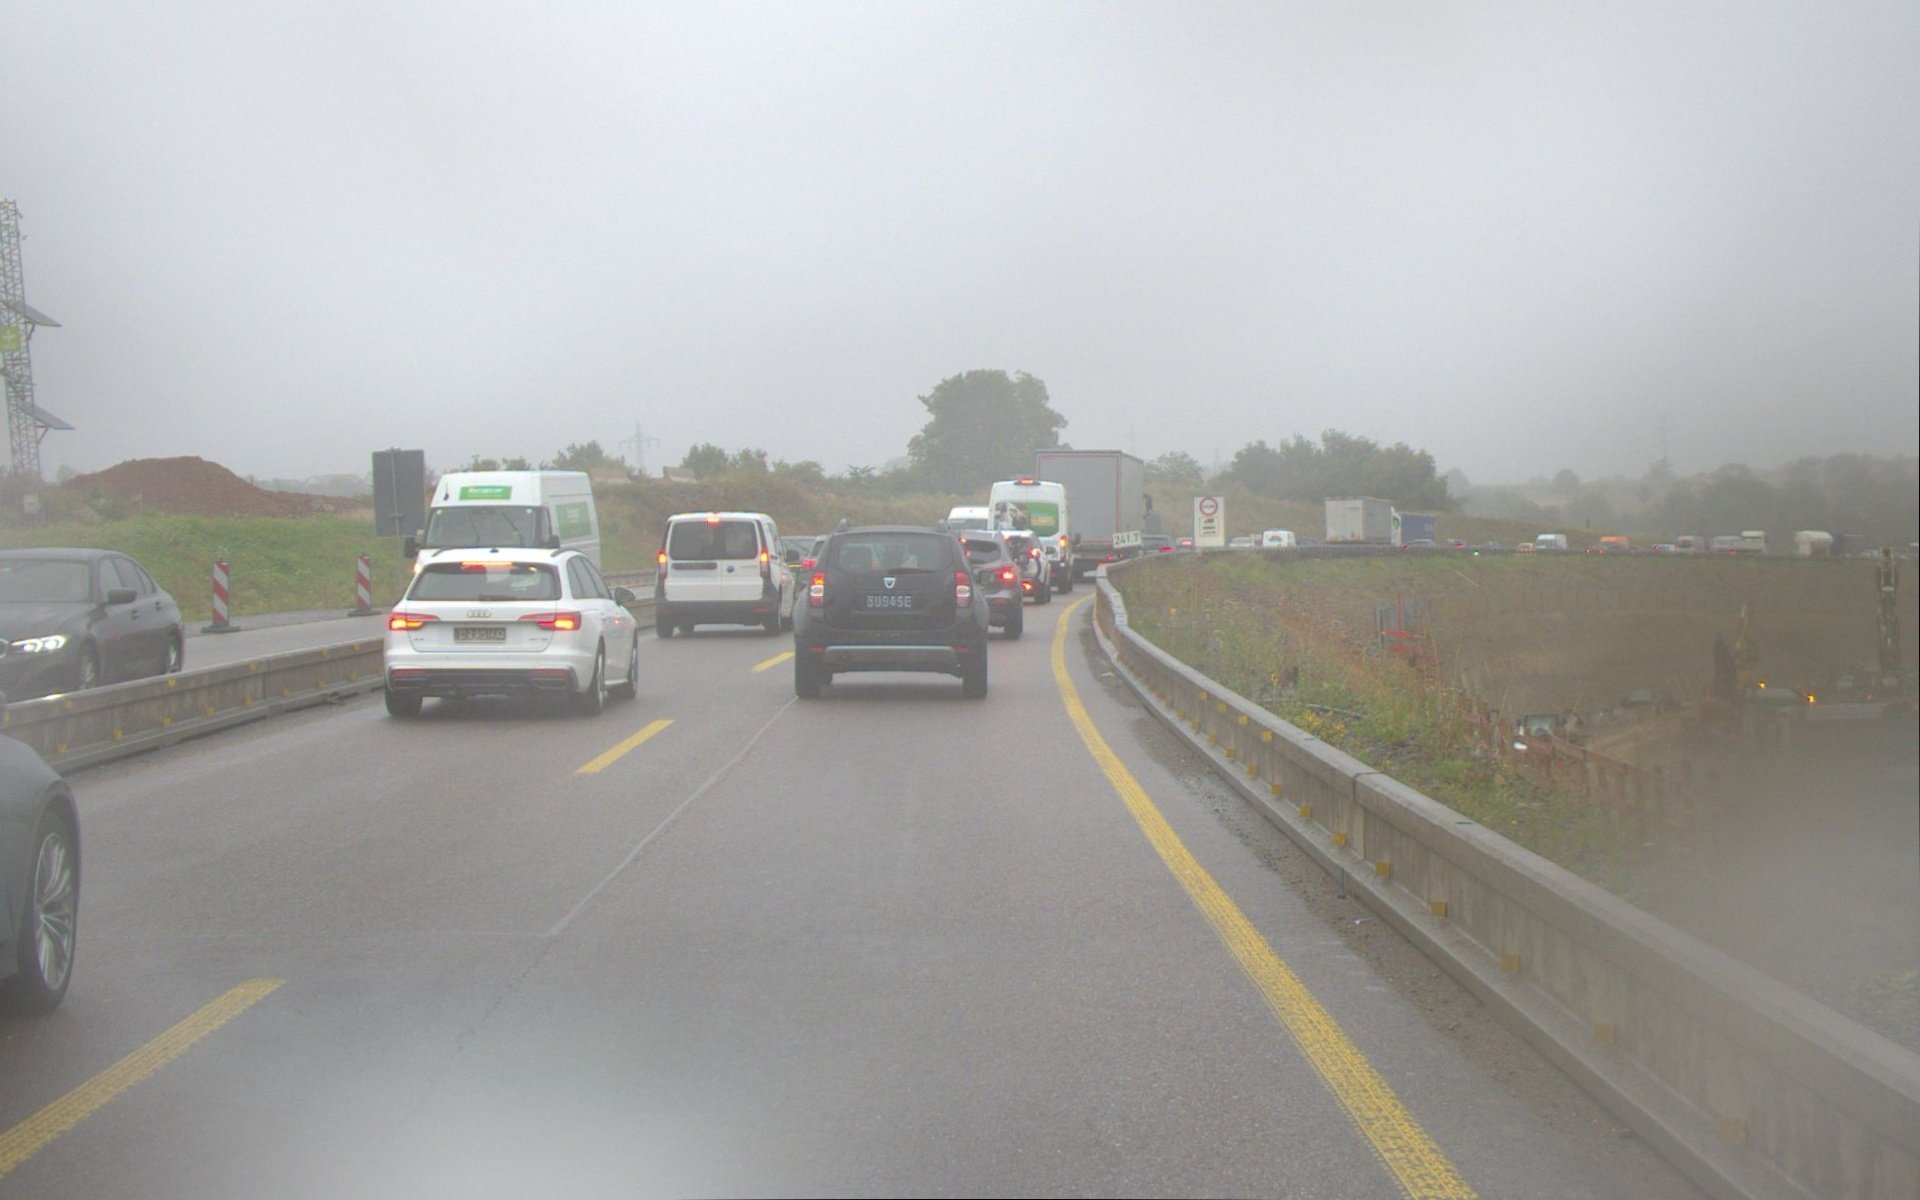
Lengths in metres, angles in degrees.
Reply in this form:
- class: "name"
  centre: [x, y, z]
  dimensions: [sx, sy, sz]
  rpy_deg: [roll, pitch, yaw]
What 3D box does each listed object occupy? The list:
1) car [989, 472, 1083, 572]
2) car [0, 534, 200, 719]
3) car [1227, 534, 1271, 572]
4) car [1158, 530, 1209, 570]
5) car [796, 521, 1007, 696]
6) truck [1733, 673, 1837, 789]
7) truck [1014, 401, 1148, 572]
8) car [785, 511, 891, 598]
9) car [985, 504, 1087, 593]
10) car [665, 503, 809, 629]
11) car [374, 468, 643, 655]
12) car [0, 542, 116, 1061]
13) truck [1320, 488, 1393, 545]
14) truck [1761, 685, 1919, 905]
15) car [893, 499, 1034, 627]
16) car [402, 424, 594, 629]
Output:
- class: "car"
  centre: [1.931, -1.923, 85.963]
  dimensions: [1.827, 2.429, 4.156]
  rpy_deg: [1, 0, 8]
- class: "car"
  centre: [-8.015, 0.172, 30.019]
  dimensions: [1.747, 1.490, 4.750]
  rpy_deg: [0, 1, -1]
- class: "car"
  centre: [17.262, -2.786, 205.447]
  dimensions: [2.036, 2.248, 4.155]
  rpy_deg: [1, 0, 13]
- class: "car"
  centre: [11.885, -2.649, 182.515]
  dimensions: [2.036, 2.106, 4.155]
  rpy_deg: [1, 0, 14]
- class: "car"
  centre: [-0.508, 0.060, 33.494]
  dimensions: [1.826, 1.585, 4.000]
  rpy_deg: [1, 0, 2]
- class: "truck"
  centre: [27.992, 4.385, 116.929]
  dimensions: [2.731, 3.479, 9.061]
  rpy_deg: [1, 0, 9]
- class: "truck"
  centre: [3.899, -3.437, 107.911]
  dimensions: [3.544, 5.060, 10.439]
  rpy_deg: [1, 0, 5]
- class: "car"
  centre: [-2.581, -0.967, 73.732]
  dimensions: [1.826, 1.809, 3.999]
  rpy_deg: [1, 0, 4]
- class: "car"
  centre: [1.627, -1.065, 72.187]
  dimensions: [1.827, 1.809, 3.999]
  rpy_deg: [1, 0, 6]
- class: "car"
  centre: [-3.298, -0.507, 51.545]
  dimensions: [1.826, 1.809, 4.000]
  rpy_deg: [1, 0, 1]
- class: "car"
  centre: [-3.835, -0.328, 29.803]
  dimensions: [1.826, 1.494, 4.000]
  rpy_deg: [1, 0, 0]
- class: "car"
  centre: [-3.599, 0.663, 8.800]
  dimensions: [1.734, 1.457, 5.630]
  rpy_deg: [0, 3, -3]
- class: "truck"
  centre: [26.495, -5.563, 229.180]
  dimensions: [3.475, 3.702, 8.411]
  rpy_deg: [0, 1, 16]
- class: "truck"
  centre: [17.092, 3.477, 63.694]
  dimensions: [2.699, 3.491, 8.947]
  rpy_deg: [1, 0, 2]
- class: "car"
  centre: [0.091, -0.540, 50.921]
  dimensions: [1.826, 1.809, 4.000]
  rpy_deg: [1, 0, 3]
- class: "car"
  centre: [-7.294, -1.168, 54.998]
  dimensions: [1.993, 3.035, 7.171]
  rpy_deg: [1, 1, 1]
